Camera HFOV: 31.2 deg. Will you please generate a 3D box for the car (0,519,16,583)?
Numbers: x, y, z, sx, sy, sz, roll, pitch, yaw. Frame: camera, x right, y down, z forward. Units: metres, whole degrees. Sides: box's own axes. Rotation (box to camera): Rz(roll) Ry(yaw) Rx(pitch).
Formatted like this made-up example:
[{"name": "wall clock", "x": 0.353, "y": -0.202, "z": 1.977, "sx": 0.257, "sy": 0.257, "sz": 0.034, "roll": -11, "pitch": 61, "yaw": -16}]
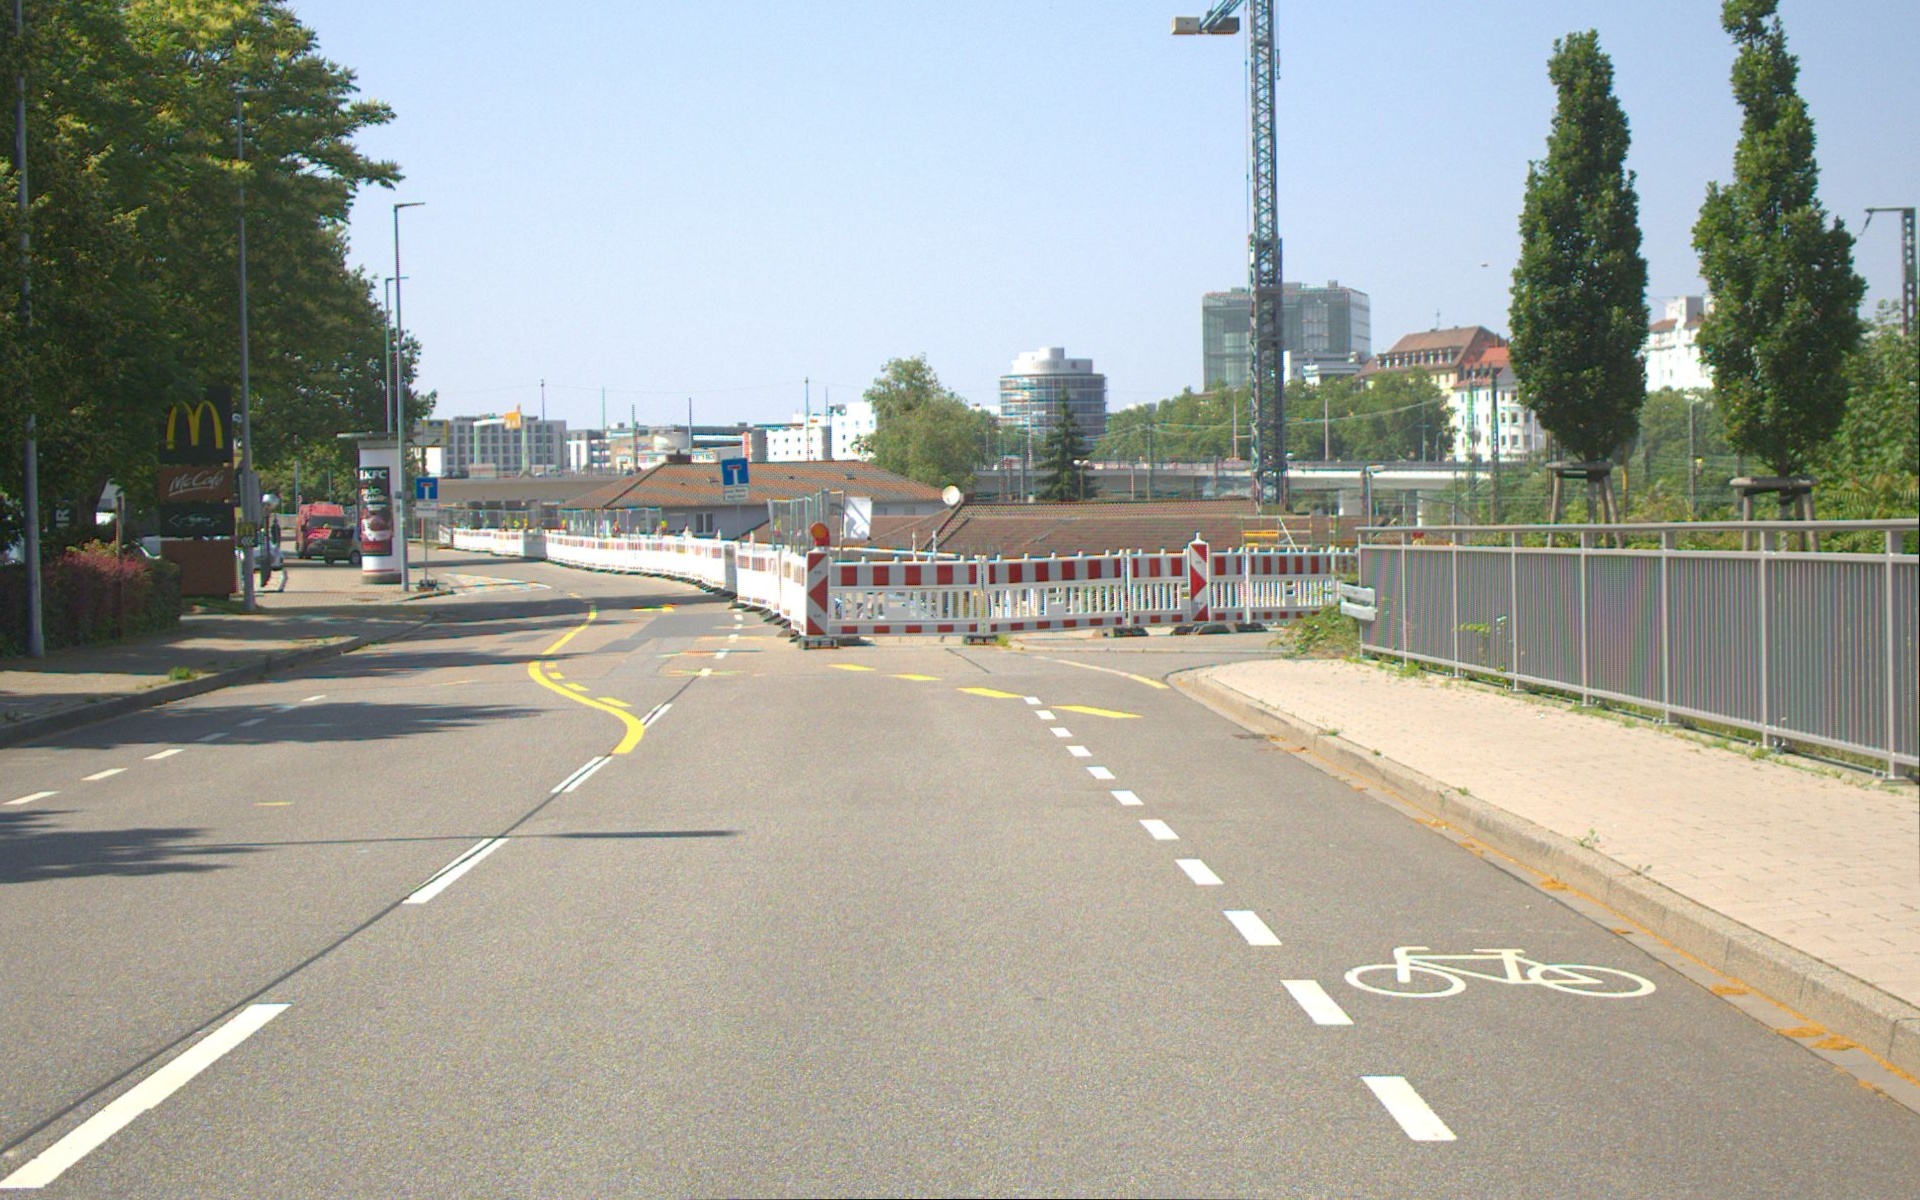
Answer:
[{"name": "car", "x": -30.225, "y": -1.445, "z": 103.246, "sx": 1.994, "sy": 1.897, "sz": 3.998, "roll": -2, "pitch": 2, "yaw": -42}]
